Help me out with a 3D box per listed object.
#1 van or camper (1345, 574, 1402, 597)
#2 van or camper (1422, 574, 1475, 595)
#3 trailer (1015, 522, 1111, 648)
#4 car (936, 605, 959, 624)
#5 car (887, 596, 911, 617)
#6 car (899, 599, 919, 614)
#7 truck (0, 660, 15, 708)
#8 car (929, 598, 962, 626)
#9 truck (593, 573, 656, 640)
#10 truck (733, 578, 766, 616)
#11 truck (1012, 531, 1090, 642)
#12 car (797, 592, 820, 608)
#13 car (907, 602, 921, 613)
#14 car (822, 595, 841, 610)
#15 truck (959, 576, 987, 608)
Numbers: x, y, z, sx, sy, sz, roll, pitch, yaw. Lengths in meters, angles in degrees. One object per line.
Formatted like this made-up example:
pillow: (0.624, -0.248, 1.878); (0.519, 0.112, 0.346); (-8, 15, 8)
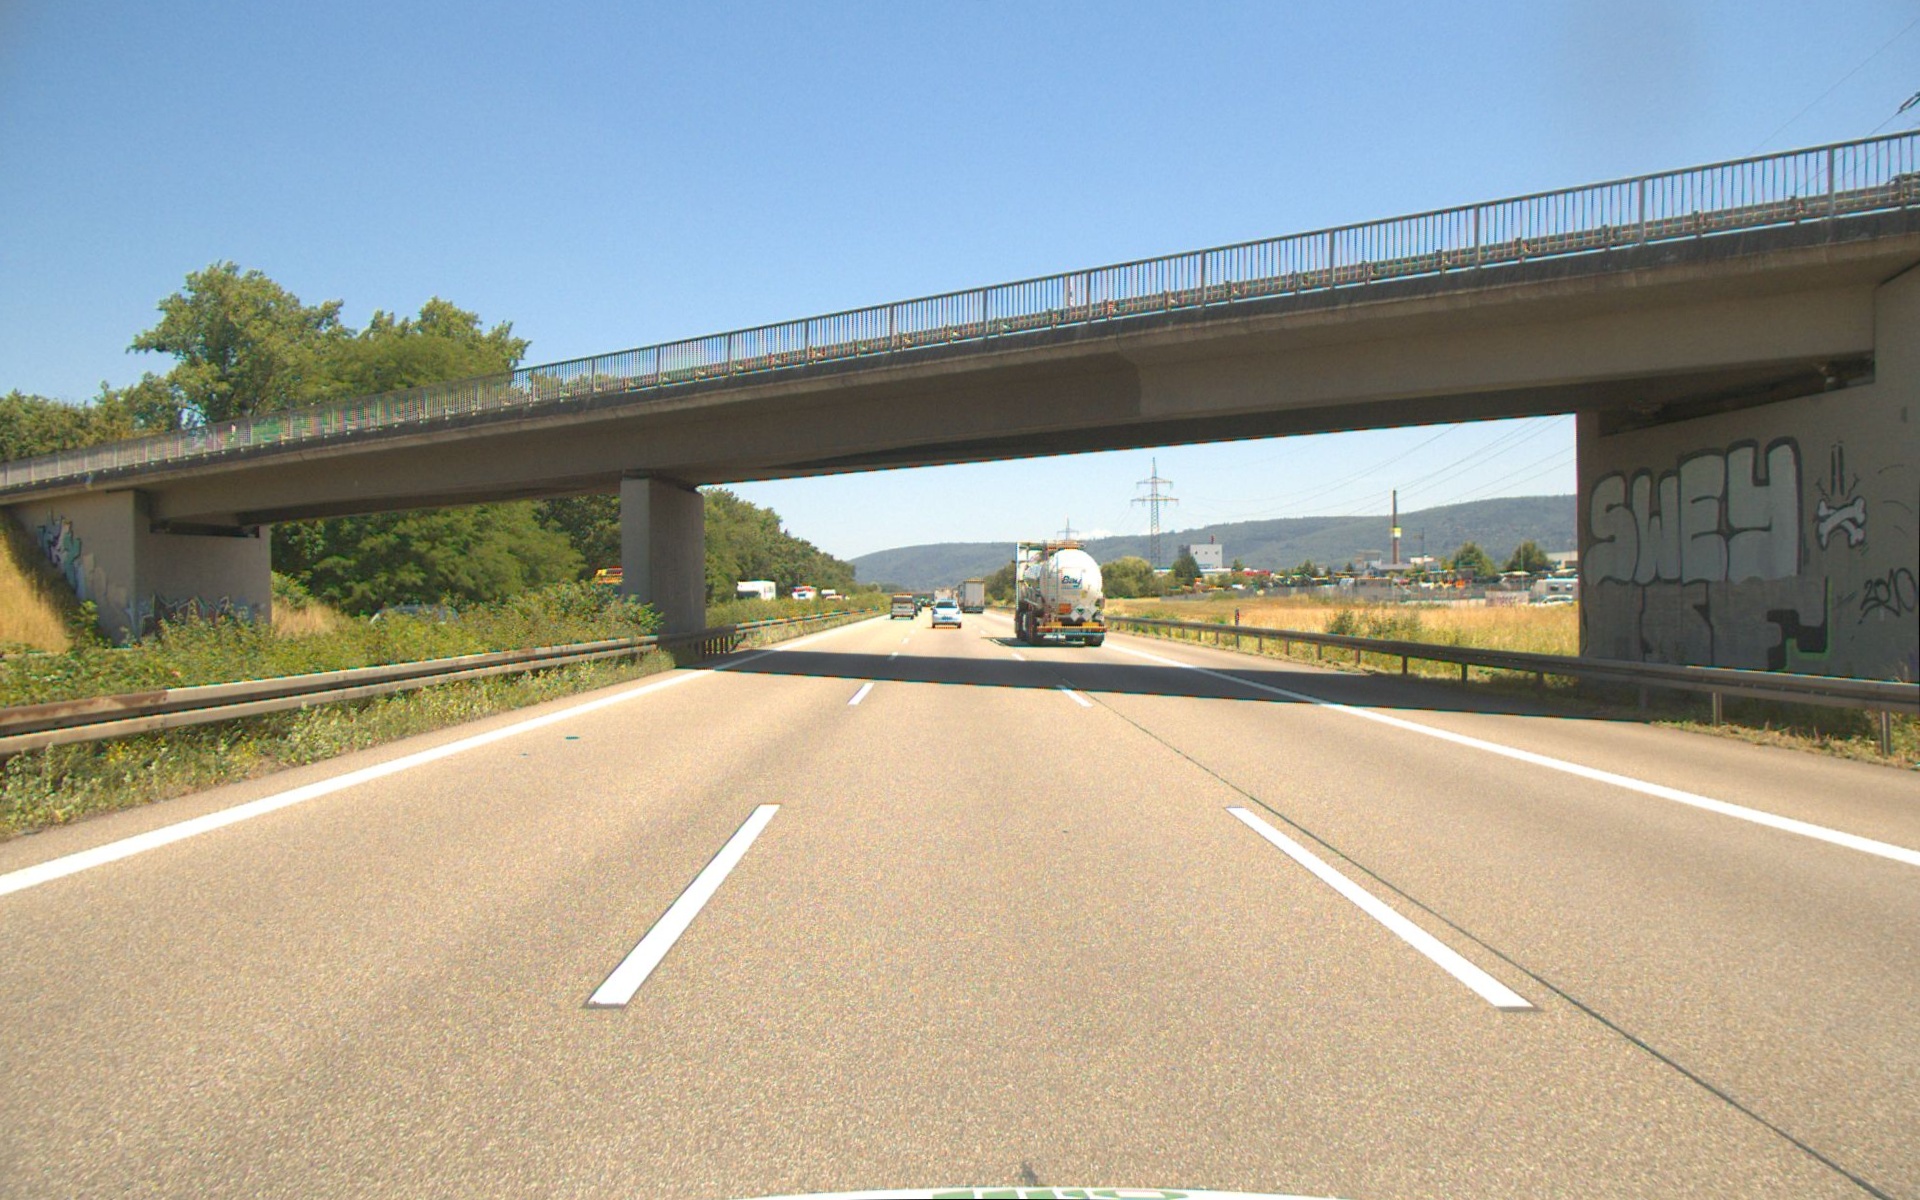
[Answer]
van or camper: (50.198, -1.748, 200.963); (6.212, 2.597, 2.438); (-2, 0, 1)
van or camper: (62.502, -1.995, 211.588); (5.991, 2.444, 2.602); (-2, 0, 1)
trailer: (3.615, -0.509, 60.676); (2.527, 4.145, 11.100); (1, 0, -1)
car: (-1.074, 1.230, 141.952); (1.846, 1.542, 3.999); (1, 0, -1)
car: (-4.917, 0.541, 134.606); (1.814, 1.661, 3.999); (1, 0, -1)
car: (-4.993, 0.629, 161.636); (1.798, 1.411, 3.999); (1, 0, -1)
truck: (-15.333, 1.231, 22.240); (2.223, 0.698, 5.219); (1, 0, 0)
car: (-0.811, 0.666, 93.090); (1.770, 1.494, 3.999); (1, 0, -1)
truck: (-20.823, 0.379, 102.943); (2.559, 3.966, 6.498); (1, 0, -1)
truck: (-21.595, -0.264, 169.969); (2.738, 3.786, 5.116); (1, 0, -1)
truck: (3.533, -0.510, 65.393); (2.521, 4.143, 6.391); (1, 0, -1)
car: (-17.741, -0.057, 194.200); (2.255, 1.811, 5.423); (1, 0, -1)
car: (-6.313, 1.006, 228.529); (1.798, 1.411, 3.999); (1, 0, -1)
car: (-15.107, 0.288, 194.917); (2.050, 1.811, 5.458); (1, 0, -3)
truck: (1.628, -1.004, 211.380); (3.199, 3.925, 11.628); (1, 0, -1)
